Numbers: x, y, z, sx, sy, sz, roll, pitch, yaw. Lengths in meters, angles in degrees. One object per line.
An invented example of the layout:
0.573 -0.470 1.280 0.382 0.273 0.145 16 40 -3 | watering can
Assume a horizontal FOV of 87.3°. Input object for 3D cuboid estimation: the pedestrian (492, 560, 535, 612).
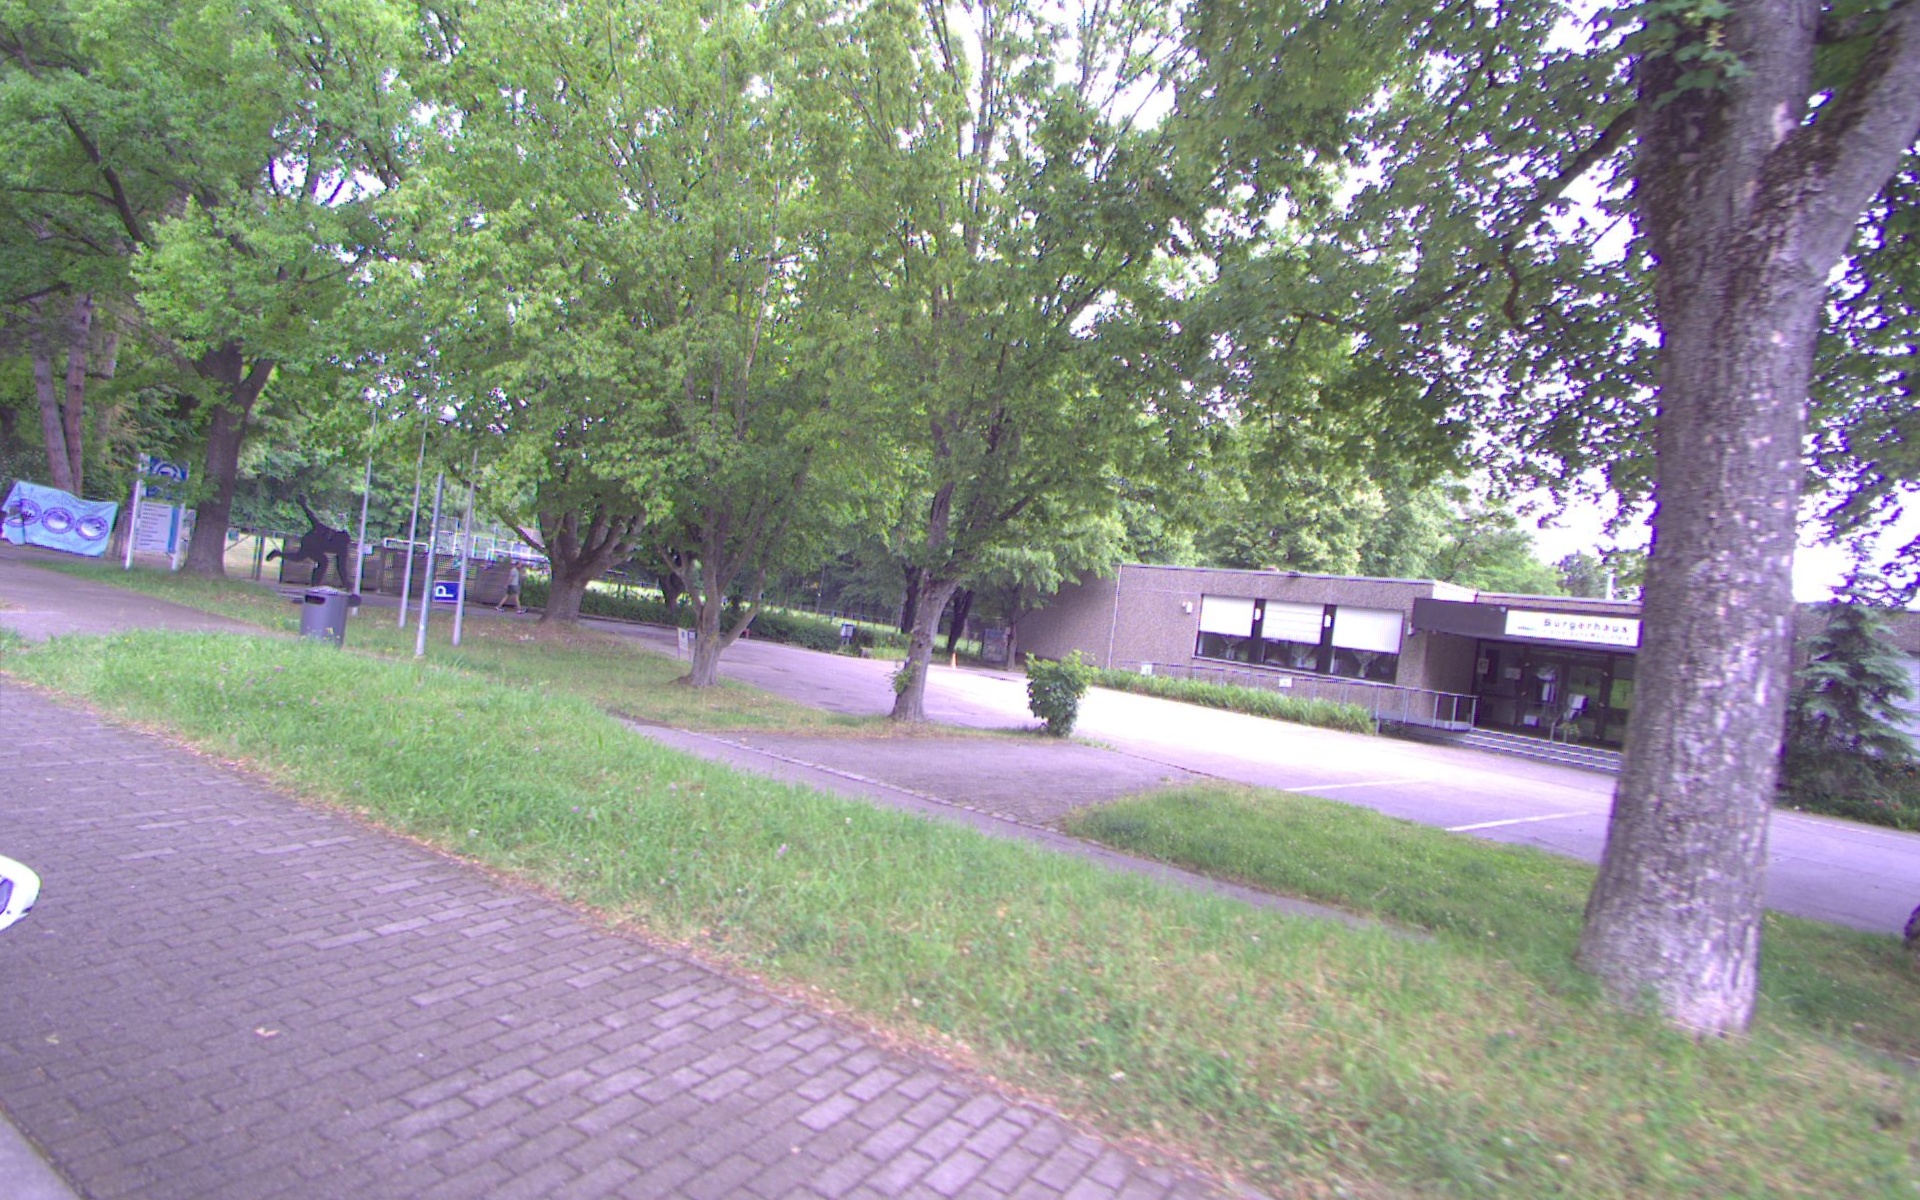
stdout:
-15.557 -0.489 35.027 1.140 1.695 0.786 5 0 -33 | pedestrian
